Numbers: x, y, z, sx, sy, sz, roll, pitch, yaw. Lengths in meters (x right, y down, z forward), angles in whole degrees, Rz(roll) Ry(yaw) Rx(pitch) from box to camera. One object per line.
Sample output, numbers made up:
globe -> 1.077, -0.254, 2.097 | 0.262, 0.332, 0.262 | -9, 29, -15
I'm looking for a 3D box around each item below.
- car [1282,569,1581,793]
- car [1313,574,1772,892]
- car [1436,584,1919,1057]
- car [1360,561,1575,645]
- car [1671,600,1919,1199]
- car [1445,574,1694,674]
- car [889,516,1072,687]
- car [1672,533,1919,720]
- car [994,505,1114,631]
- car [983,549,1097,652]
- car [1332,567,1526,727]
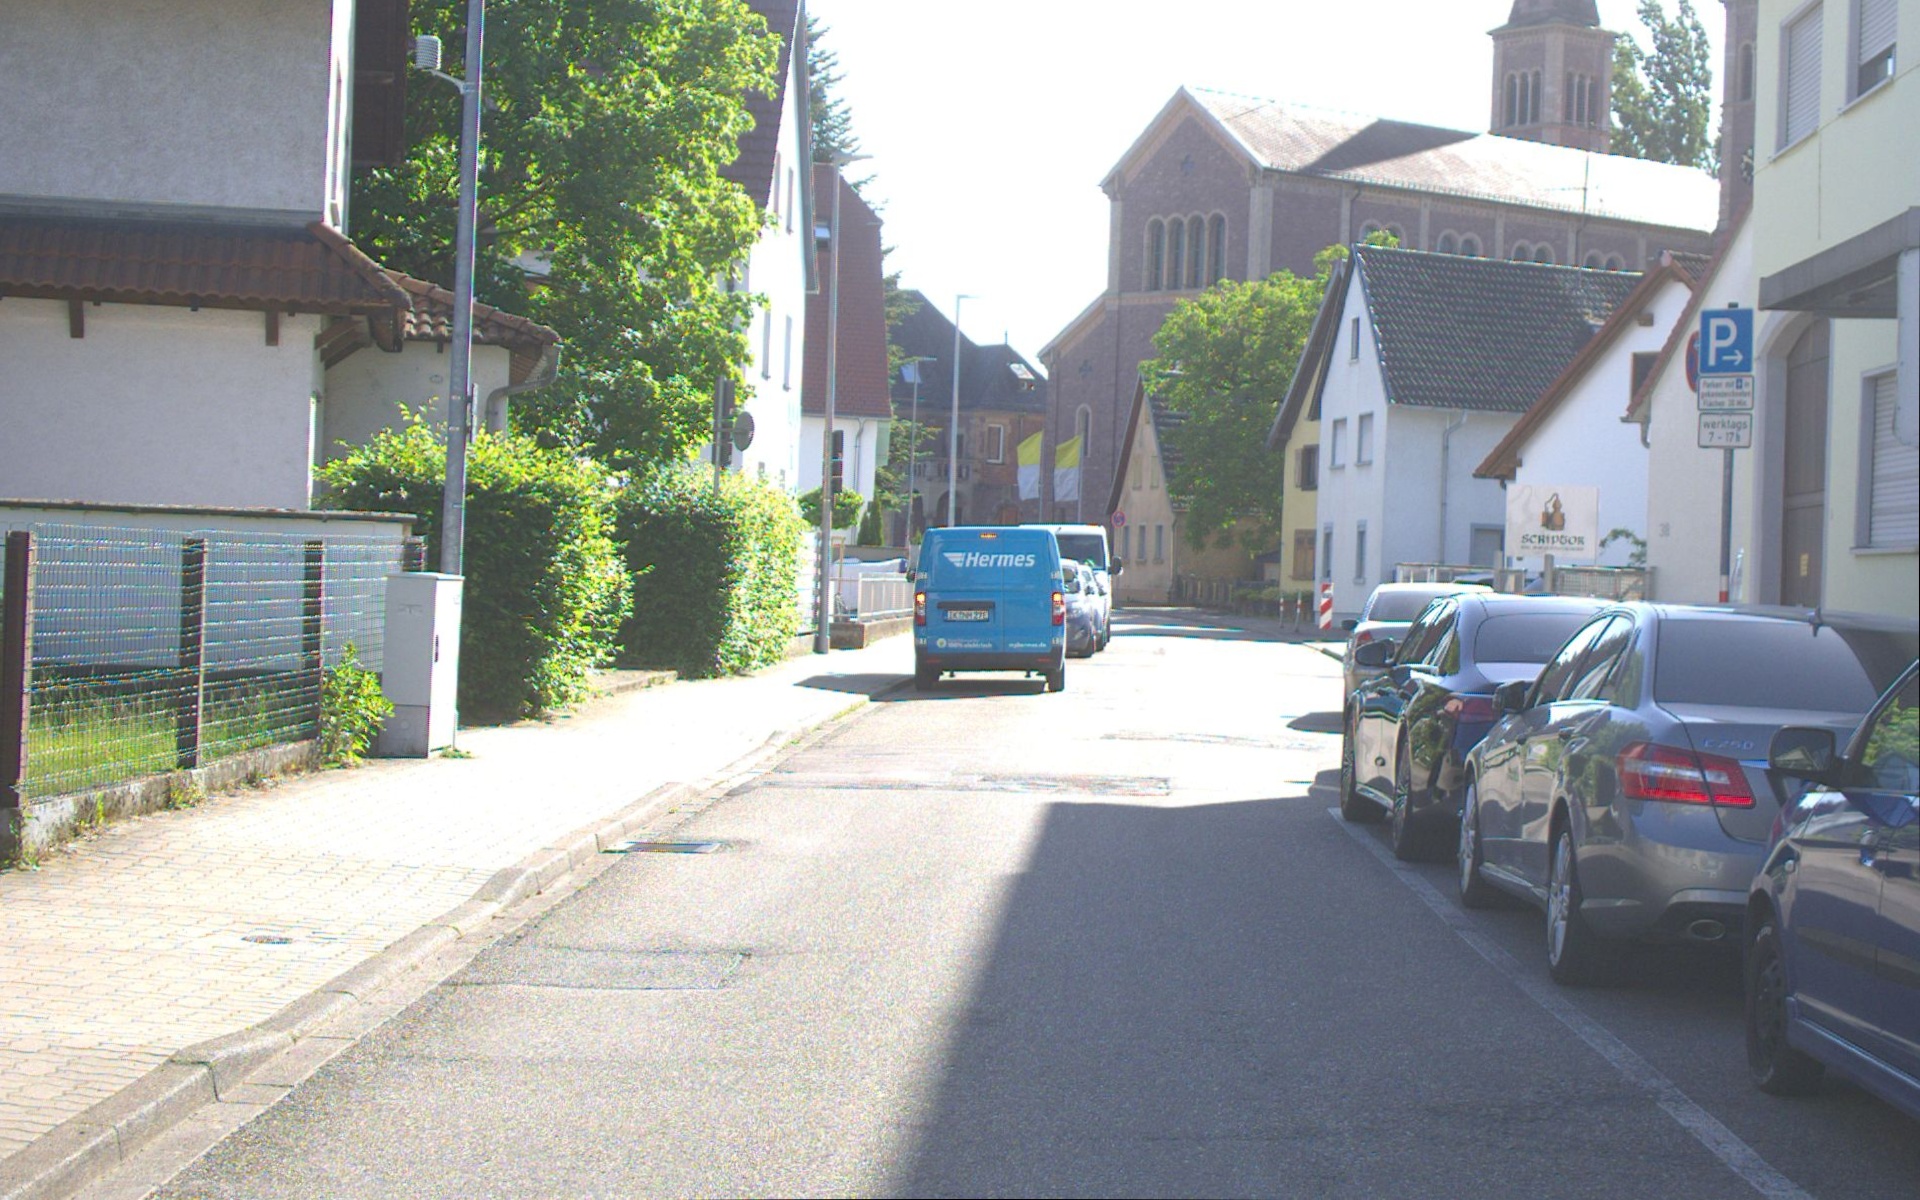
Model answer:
car -> 3.605, 0.557, 27.046 | 1.808, 1.470, 4.844 | 4, 1, 3
car -> 3.155, 0.659, 19.591 | 1.808, 1.470, 4.844 | 4, 0, 1
car -> 3.093, 0.748, 13.710 | 1.808, 1.470, 4.444 | 4, 1, 2
car -> 9.698, 0.047, 65.627 | 3.914, 1.487, 1.846 | 2, 0, 12
car -> 3.160, 0.815, 9.201 | 1.725, 1.470, 3.875 | 4, 1, 2
car -> 11.046, 0.438, 62.302 | 4.035, 1.682, 1.912 | 1, 1, -24
car -> 0.312, -0.017, 41.671 | 1.902, 1.911, 5.069 | 1, 1, 4
car -> 9.978, 0.244, 35.600 | 4.761, 1.880, 1.909 | 0, 1, -4
car -> 1.922, -0.647, 68.471 | 2.197, 2.382, 6.064 | 0, 1, 3
car -> 1.341, -0.021, 56.391 | 1.715, 1.593, 3.925 | 1, 1, 3
car -> 4.900, 0.448, 36.081 | 1.812, 1.470, 4.658 | 3, 1, 7
